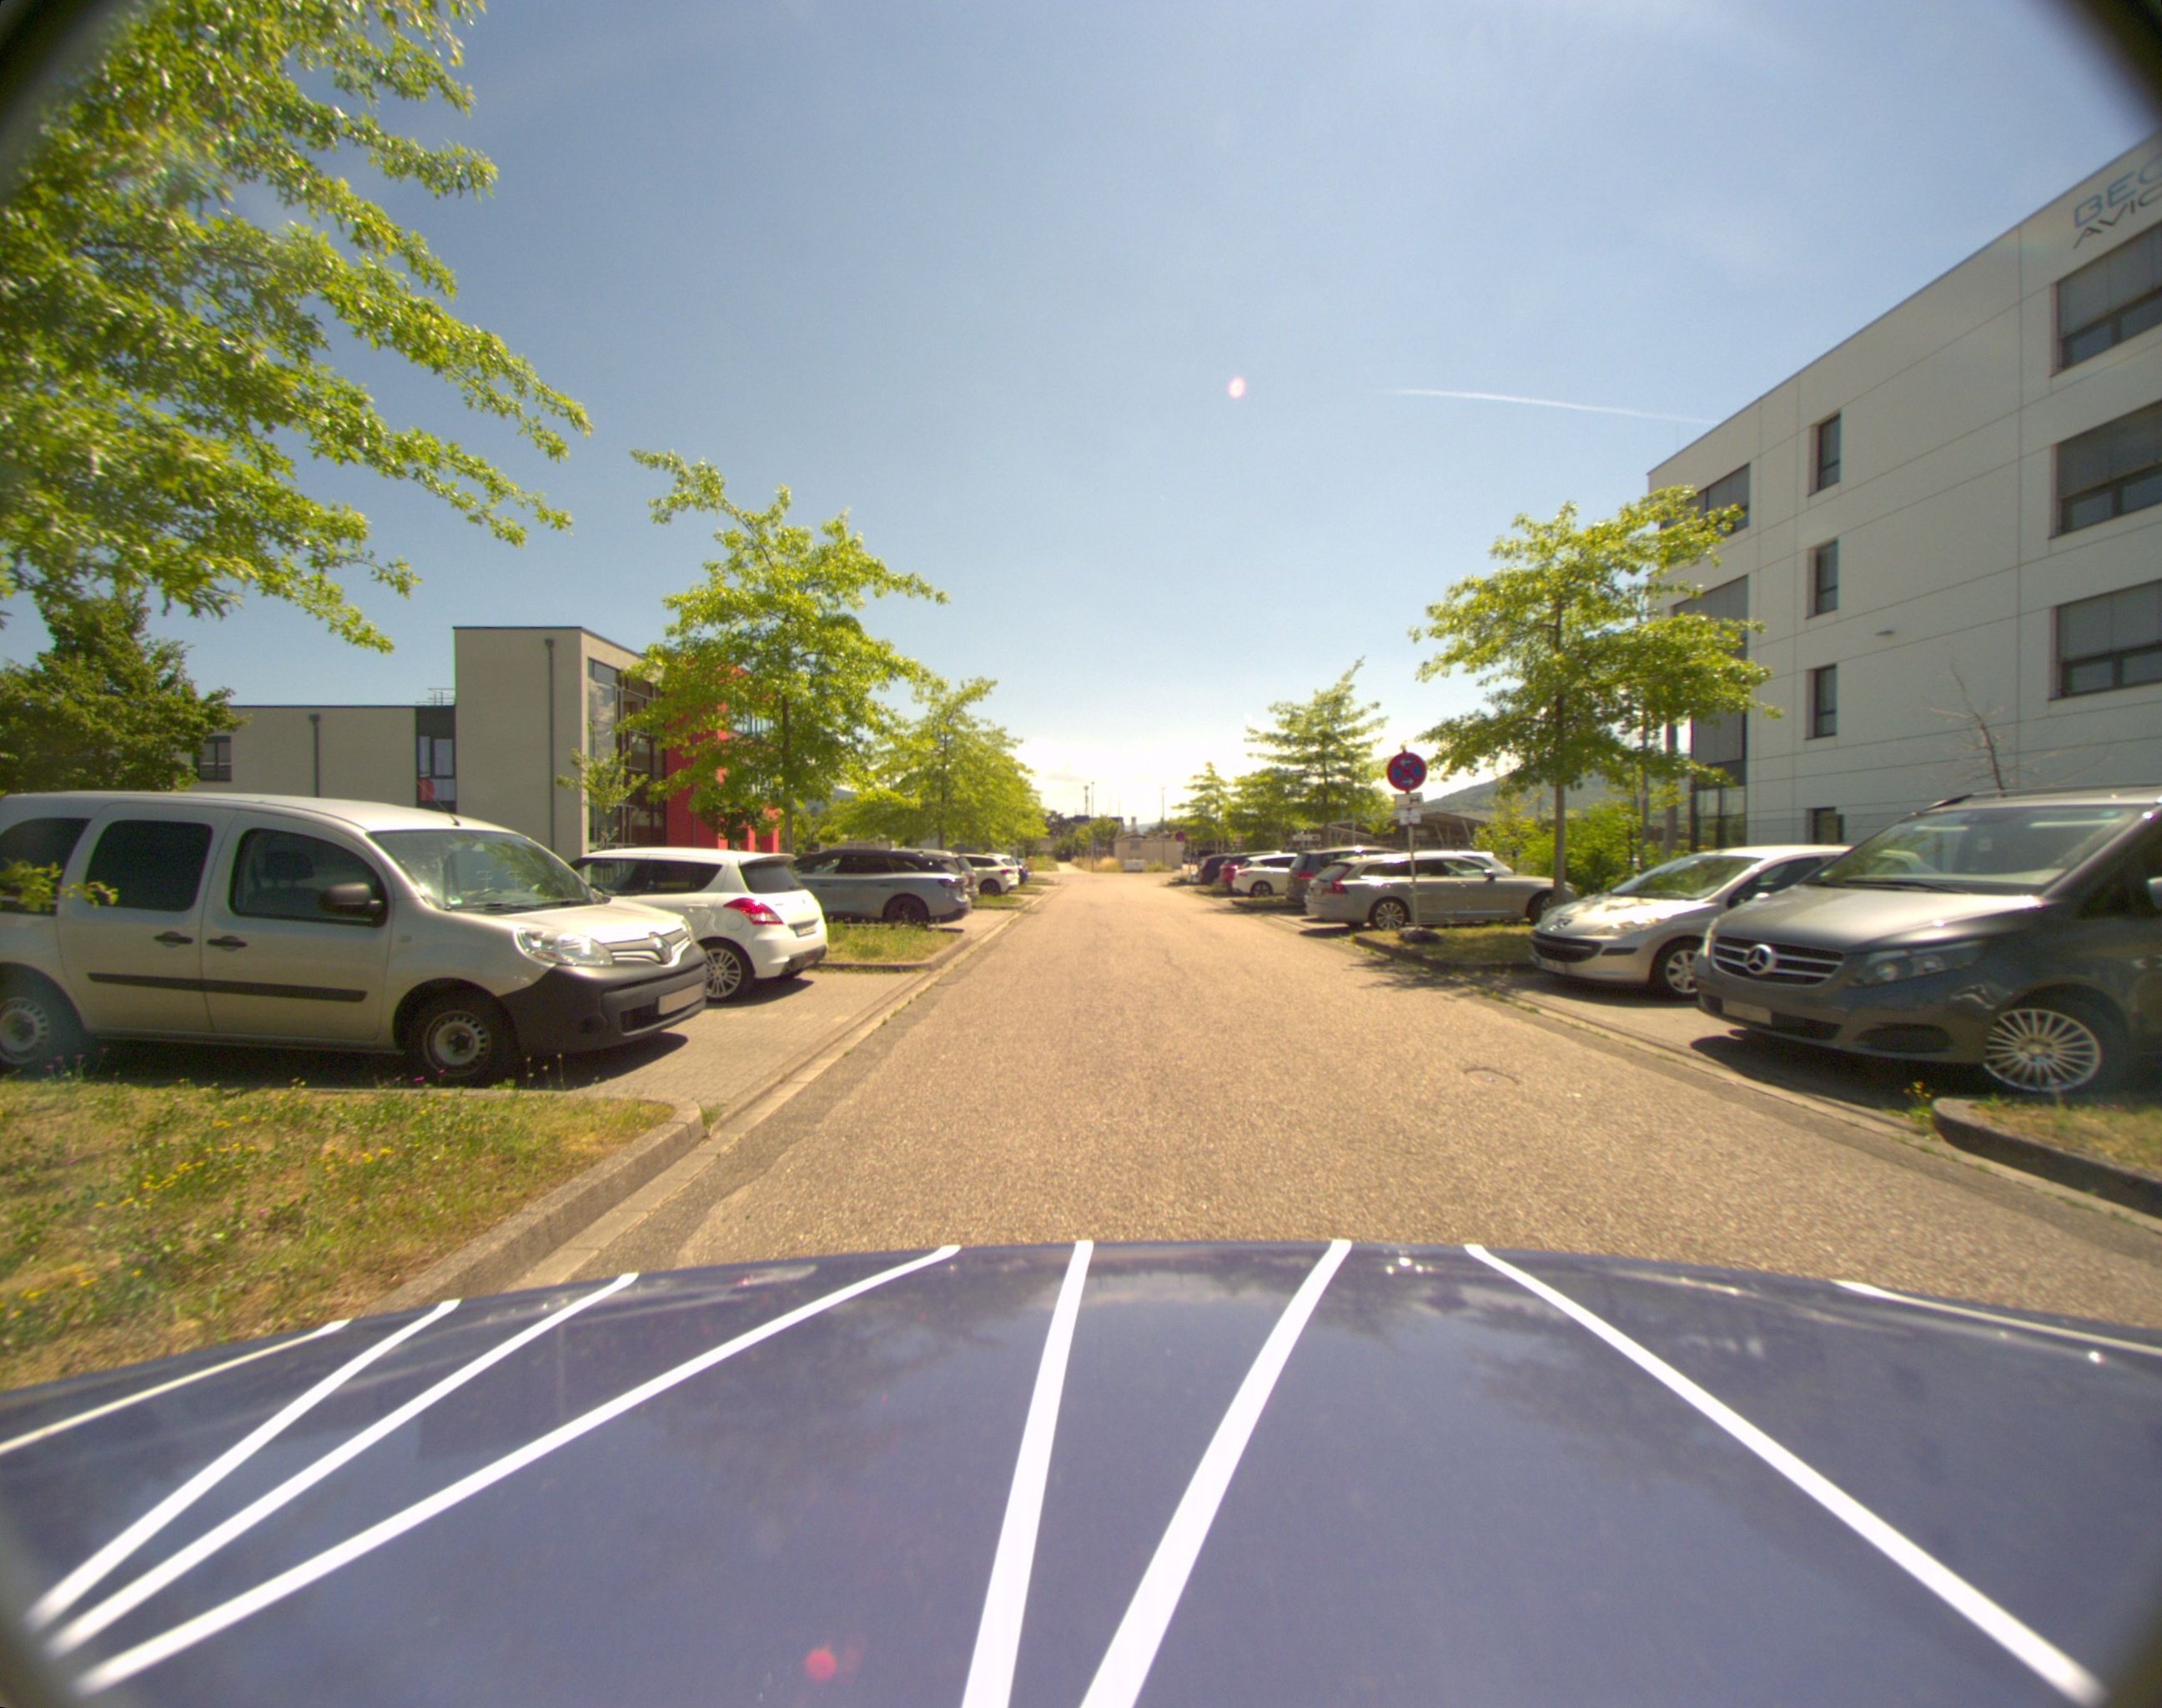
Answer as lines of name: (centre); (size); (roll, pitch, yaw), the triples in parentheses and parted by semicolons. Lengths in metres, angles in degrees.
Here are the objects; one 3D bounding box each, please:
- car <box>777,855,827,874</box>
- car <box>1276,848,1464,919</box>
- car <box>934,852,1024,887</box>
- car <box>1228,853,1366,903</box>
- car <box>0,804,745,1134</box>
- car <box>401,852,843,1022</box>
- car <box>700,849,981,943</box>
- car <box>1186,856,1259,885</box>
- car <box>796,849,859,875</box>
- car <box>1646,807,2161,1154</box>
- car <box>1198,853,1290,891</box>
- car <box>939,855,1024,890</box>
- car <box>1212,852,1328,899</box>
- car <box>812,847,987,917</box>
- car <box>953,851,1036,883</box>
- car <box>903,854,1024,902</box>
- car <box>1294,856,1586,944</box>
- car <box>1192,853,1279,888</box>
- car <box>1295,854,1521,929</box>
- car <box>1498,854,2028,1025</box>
car: (-23.774, 0.896, 64.773); (3.626, 1.492, 1.658); (0, 3, -2)
car: (7.284, 0.729, 19.431); (4.127, 1.625, 1.728); (-2, 0, 3)
car: (-4.998, 0.757, 37.591); (4.119, 1.640, 1.774); (1, 0, 3)
car: (7.247, 0.810, 25.811); (4.182, 1.504, 1.808); (-2, -1, 2)
car: (-4.987, 0.649, 5.355); (4.413, 1.819, 1.796); (2, 1, 2)
car: (-4.622, 0.782, 8.023); (3.640, 1.494, 1.676); (2, 1, 2)
car: (-4.389, 0.754, 14.487); (4.729, 1.552, 1.913); (2, 0, -3)
car: (7.446, 0.855, 40.237); (3.513, 1.433, 1.727); (-2, 0, 0)
car: (-18.698, 0.610, 56.131); (3.997, 1.764, 1.811); (-1, -2, 0)
car: (7.108, 0.653, 5.082); (5.082, 1.880, 1.997); (-1, 0, 2)
car: (7.421, 0.833, 34.963); (3.915, 1.582, 1.728); (-2, 0, 5)
car: (-4.533, 0.837, 34.884); (3.626, 1.454, 1.611); (2, 0, 3)
car: (7.046, 0.773, 28.559); (3.849, 1.582, 1.727); (-2, 0, -1)
car: (-4.603, 0.700, 19.662); (4.056, 1.615, 1.693); (2, 0, 1)
car: (-4.489, 0.676, 39.883); (4.004, 1.481, 1.728); (3, 0, 5)
car: (-4.041, 0.818, 26.494); (3.842, 1.544, 1.780); (1, -1, 6)
car: (6.765, 0.837, 14.690); (4.725, 1.439, 1.857); (-2, 0, 0)
car: (7.599, 0.804, 37.673); (3.849, 1.584, 1.829); (-2, 0, -3)
car: (7.243, 0.804, 17.119); (4.322, 1.464, 1.727); (-2, 0, -1)
car: (6.924, 0.812, 8.065); (3.978, 1.475, 1.764); (-2, 0, 1)
